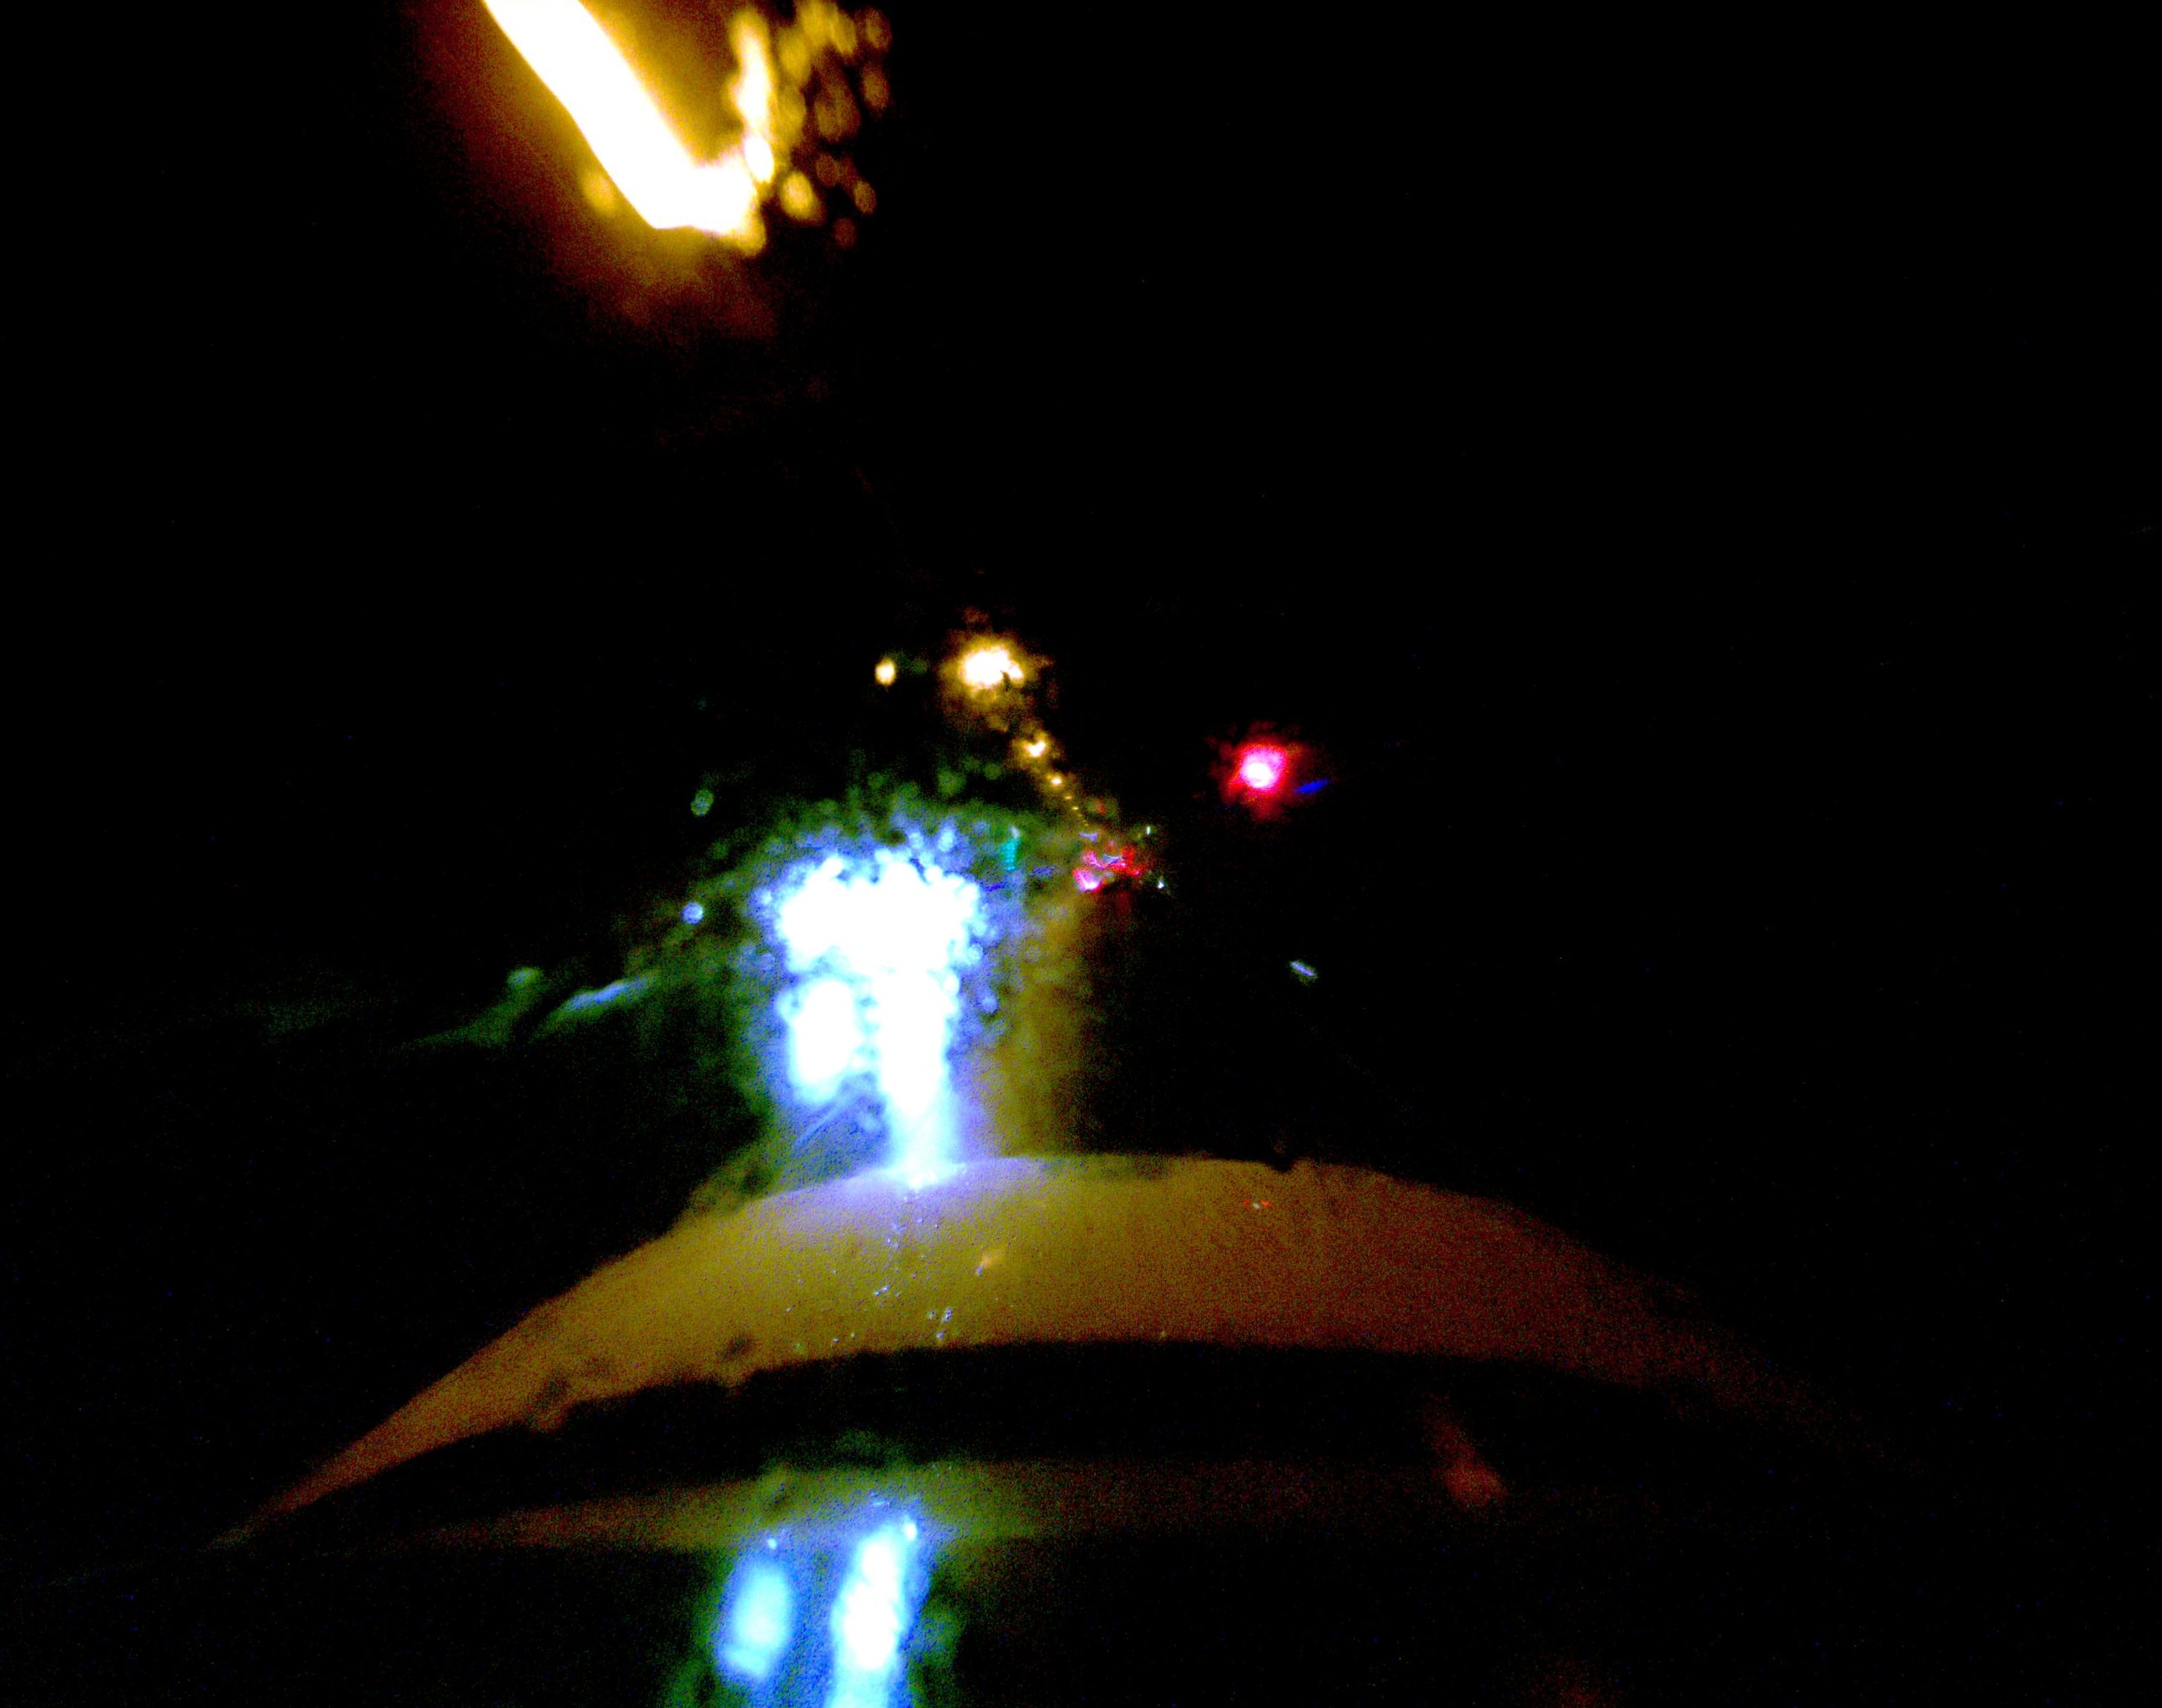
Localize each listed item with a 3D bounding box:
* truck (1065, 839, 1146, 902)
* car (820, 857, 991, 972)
[{"bbox_3d":[1.228,0.739,40.535,3.521,2.693,8.960,-1,0,2],"label":"truck"},{"bbox_3d":[-2.603,0.826,12.998,1.750,1.528,3.816,1,0,2],"label":"car"}]
